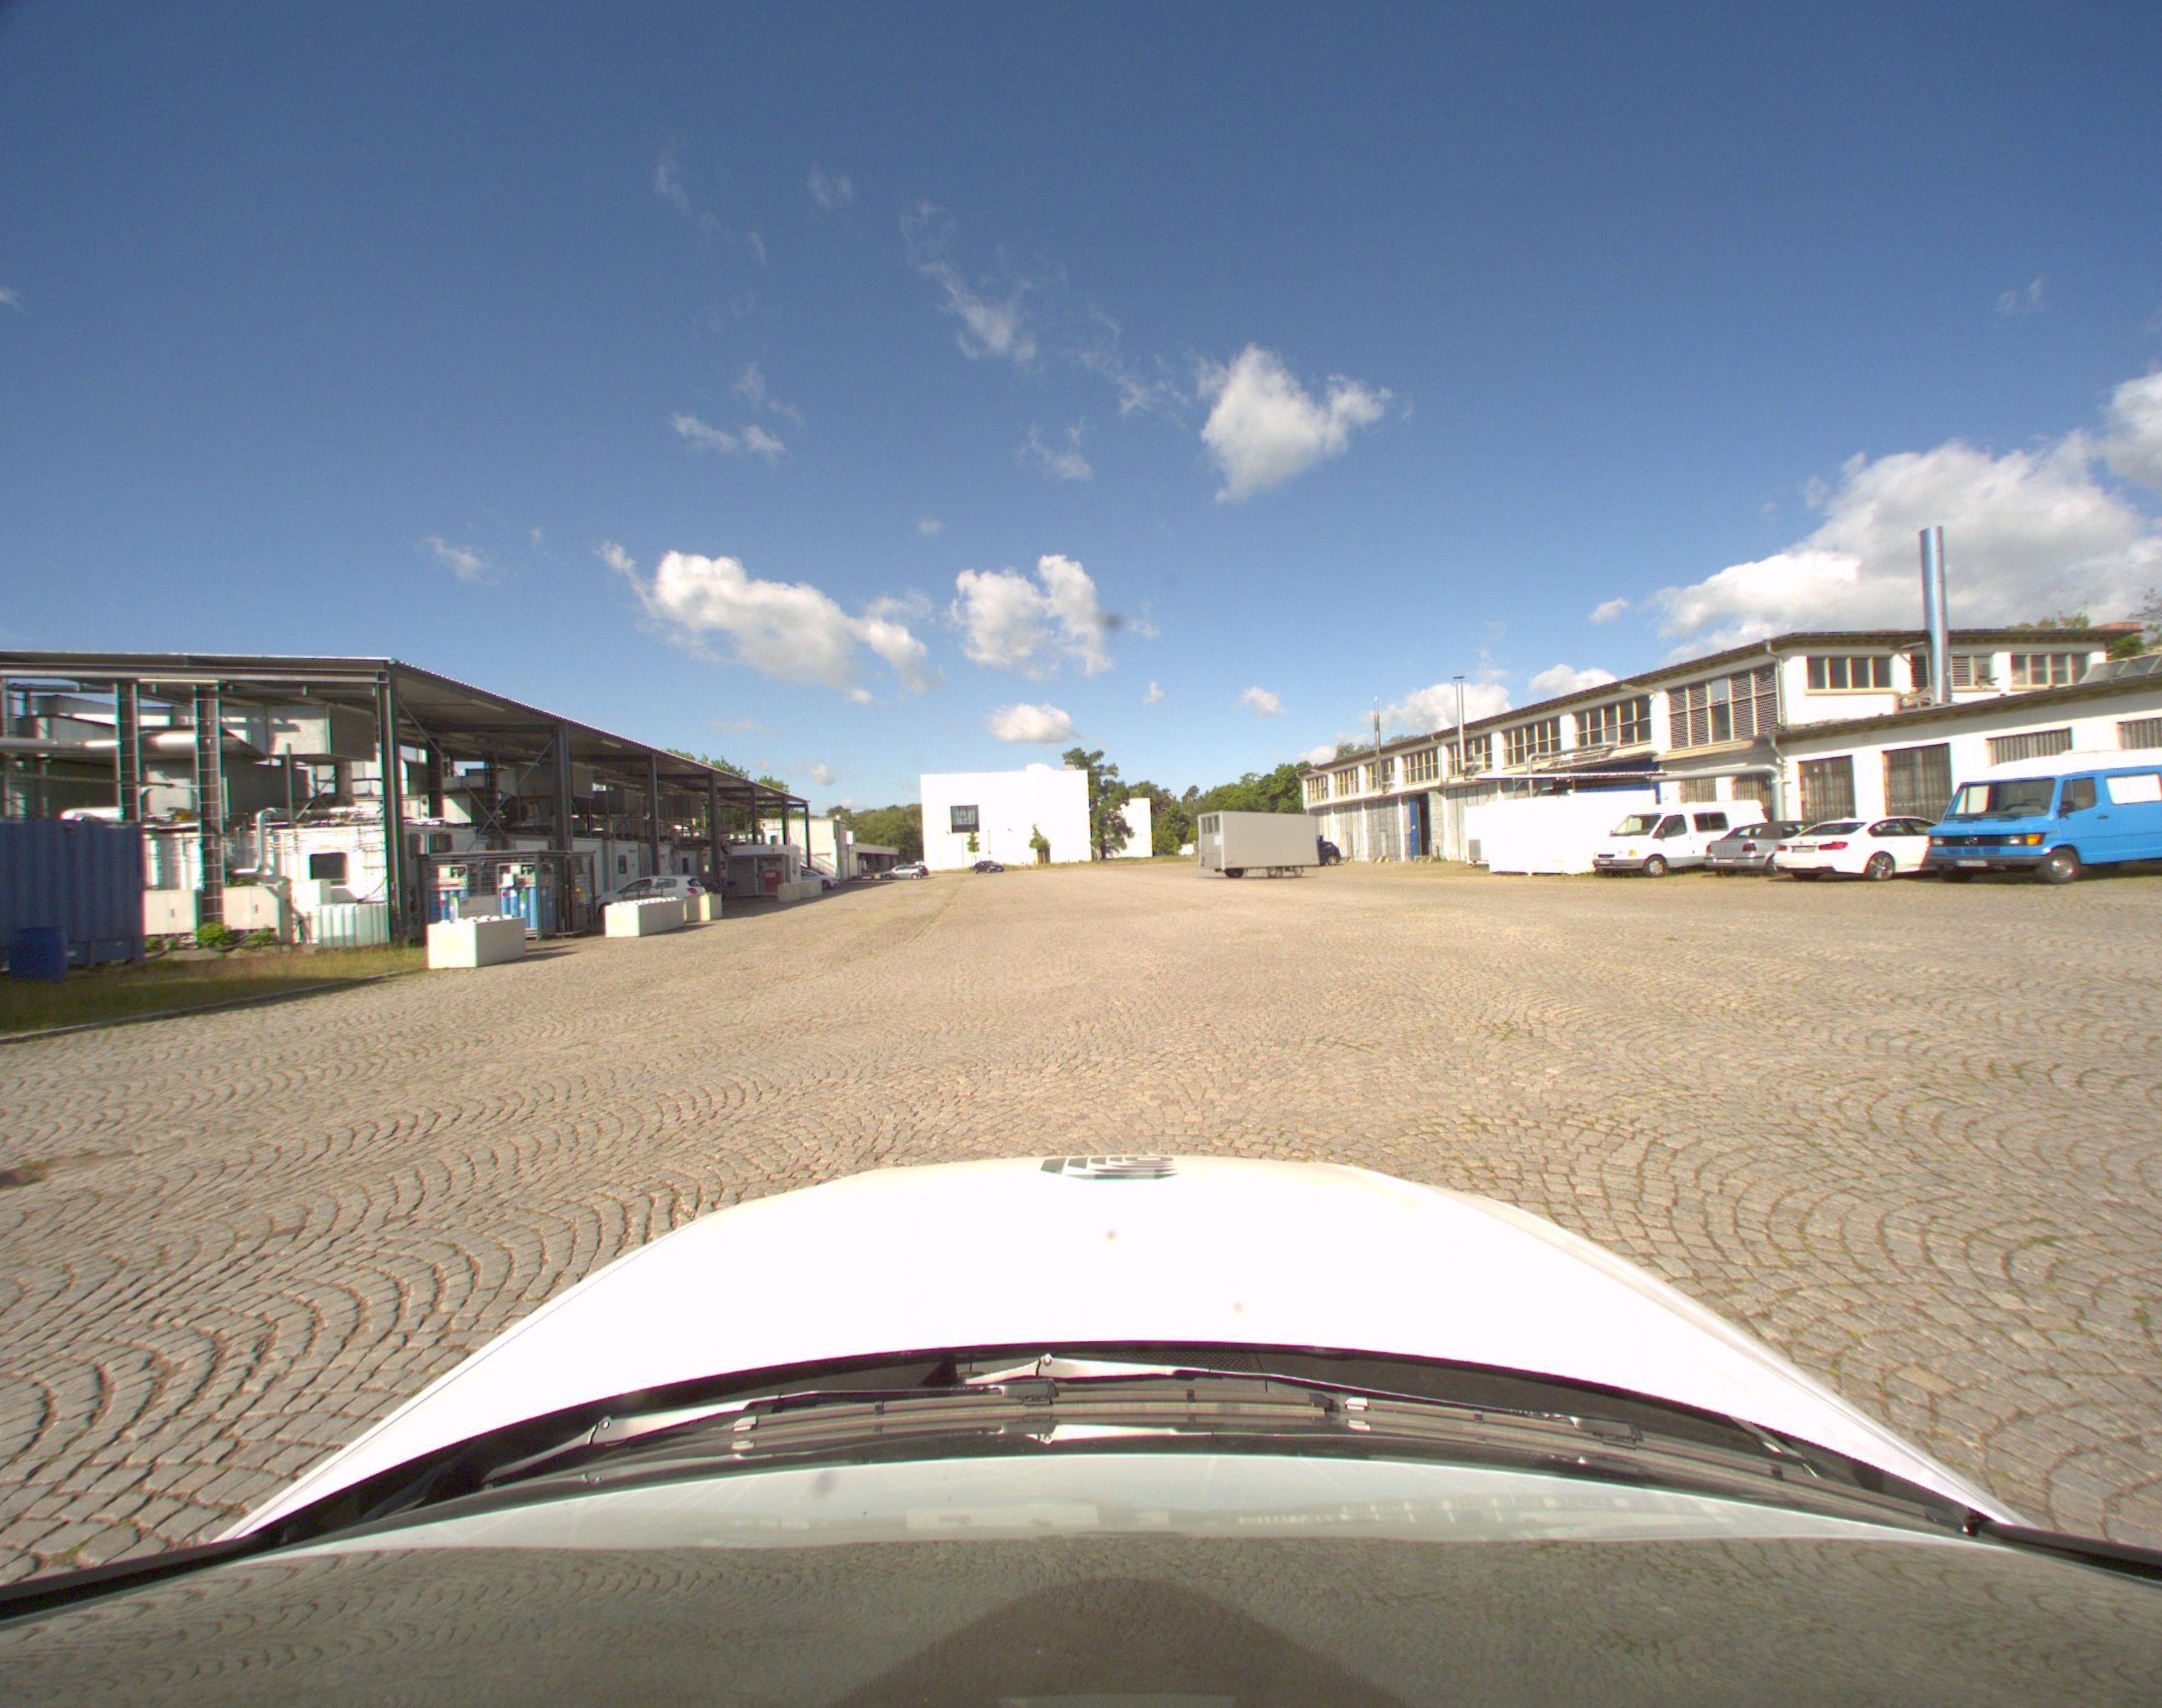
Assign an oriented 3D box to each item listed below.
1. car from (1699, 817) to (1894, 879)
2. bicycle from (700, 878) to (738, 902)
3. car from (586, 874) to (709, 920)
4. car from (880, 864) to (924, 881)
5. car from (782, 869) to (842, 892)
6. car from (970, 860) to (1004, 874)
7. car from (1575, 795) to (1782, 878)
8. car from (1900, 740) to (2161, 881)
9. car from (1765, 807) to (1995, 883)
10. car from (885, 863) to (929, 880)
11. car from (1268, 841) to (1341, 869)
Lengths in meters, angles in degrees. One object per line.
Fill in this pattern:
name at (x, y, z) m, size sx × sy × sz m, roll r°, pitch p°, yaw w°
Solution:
car at (18.891, -0.159, 21.595) m, size 3.813 × 1.398 × 1.689 m, roll -3°, pitch 0°, yaw -5°
bicycle at (-18.708, 1.833, 42.125) m, size 1.665 × 1.136 × 0.484 m, roll -3°, pitch -1°, yaw -9°
car at (-15.360, 1.507, 29.022) m, size 3.463 × 1.376 × 1.605 m, roll -3°, pitch 0°, yaw -11°
car at (-17.830, 1.845, 81.234) m, size 4.173 × 1.403 × 1.735 m, roll -3°, pitch 0°, yaw -9°
car at (-18.555, 1.818, 56.356) m, size 3.686 × 1.408 × 1.669 m, roll -3°, pitch 0°, yaw -11°
car at (-10.430, 1.457, 90.061) m, size 1.749 × 1.429 × 4.028 m, roll -2°, pitch -1°, yaw -39°
car at (17.814, -0.506, 24.415) m, size 4.781 × 2.081 × 2.007 m, roll -4°, pitch 0°, yaw -5°
car at (19.756, -0.855, 16.111) m, size 5.212 × 2.483 × 2.086 m, roll -3°, pitch 0°, yaw -5°
car at (18.260, -0.190, 18.713) m, size 3.721 × 1.405 × 1.735 m, roll -4°, pitch -1°, yaw -5°
car at (-18.002, 1.786, 84.472) m, size 4.343 × 1.469 × 1.735 m, roll -3°, pitch 0°, yaw -9°
car at (14.173, 0.060, 51.693) m, size 4.062 × 1.469 × 1.735 m, roll -3°, pitch 0°, yaw -9°
